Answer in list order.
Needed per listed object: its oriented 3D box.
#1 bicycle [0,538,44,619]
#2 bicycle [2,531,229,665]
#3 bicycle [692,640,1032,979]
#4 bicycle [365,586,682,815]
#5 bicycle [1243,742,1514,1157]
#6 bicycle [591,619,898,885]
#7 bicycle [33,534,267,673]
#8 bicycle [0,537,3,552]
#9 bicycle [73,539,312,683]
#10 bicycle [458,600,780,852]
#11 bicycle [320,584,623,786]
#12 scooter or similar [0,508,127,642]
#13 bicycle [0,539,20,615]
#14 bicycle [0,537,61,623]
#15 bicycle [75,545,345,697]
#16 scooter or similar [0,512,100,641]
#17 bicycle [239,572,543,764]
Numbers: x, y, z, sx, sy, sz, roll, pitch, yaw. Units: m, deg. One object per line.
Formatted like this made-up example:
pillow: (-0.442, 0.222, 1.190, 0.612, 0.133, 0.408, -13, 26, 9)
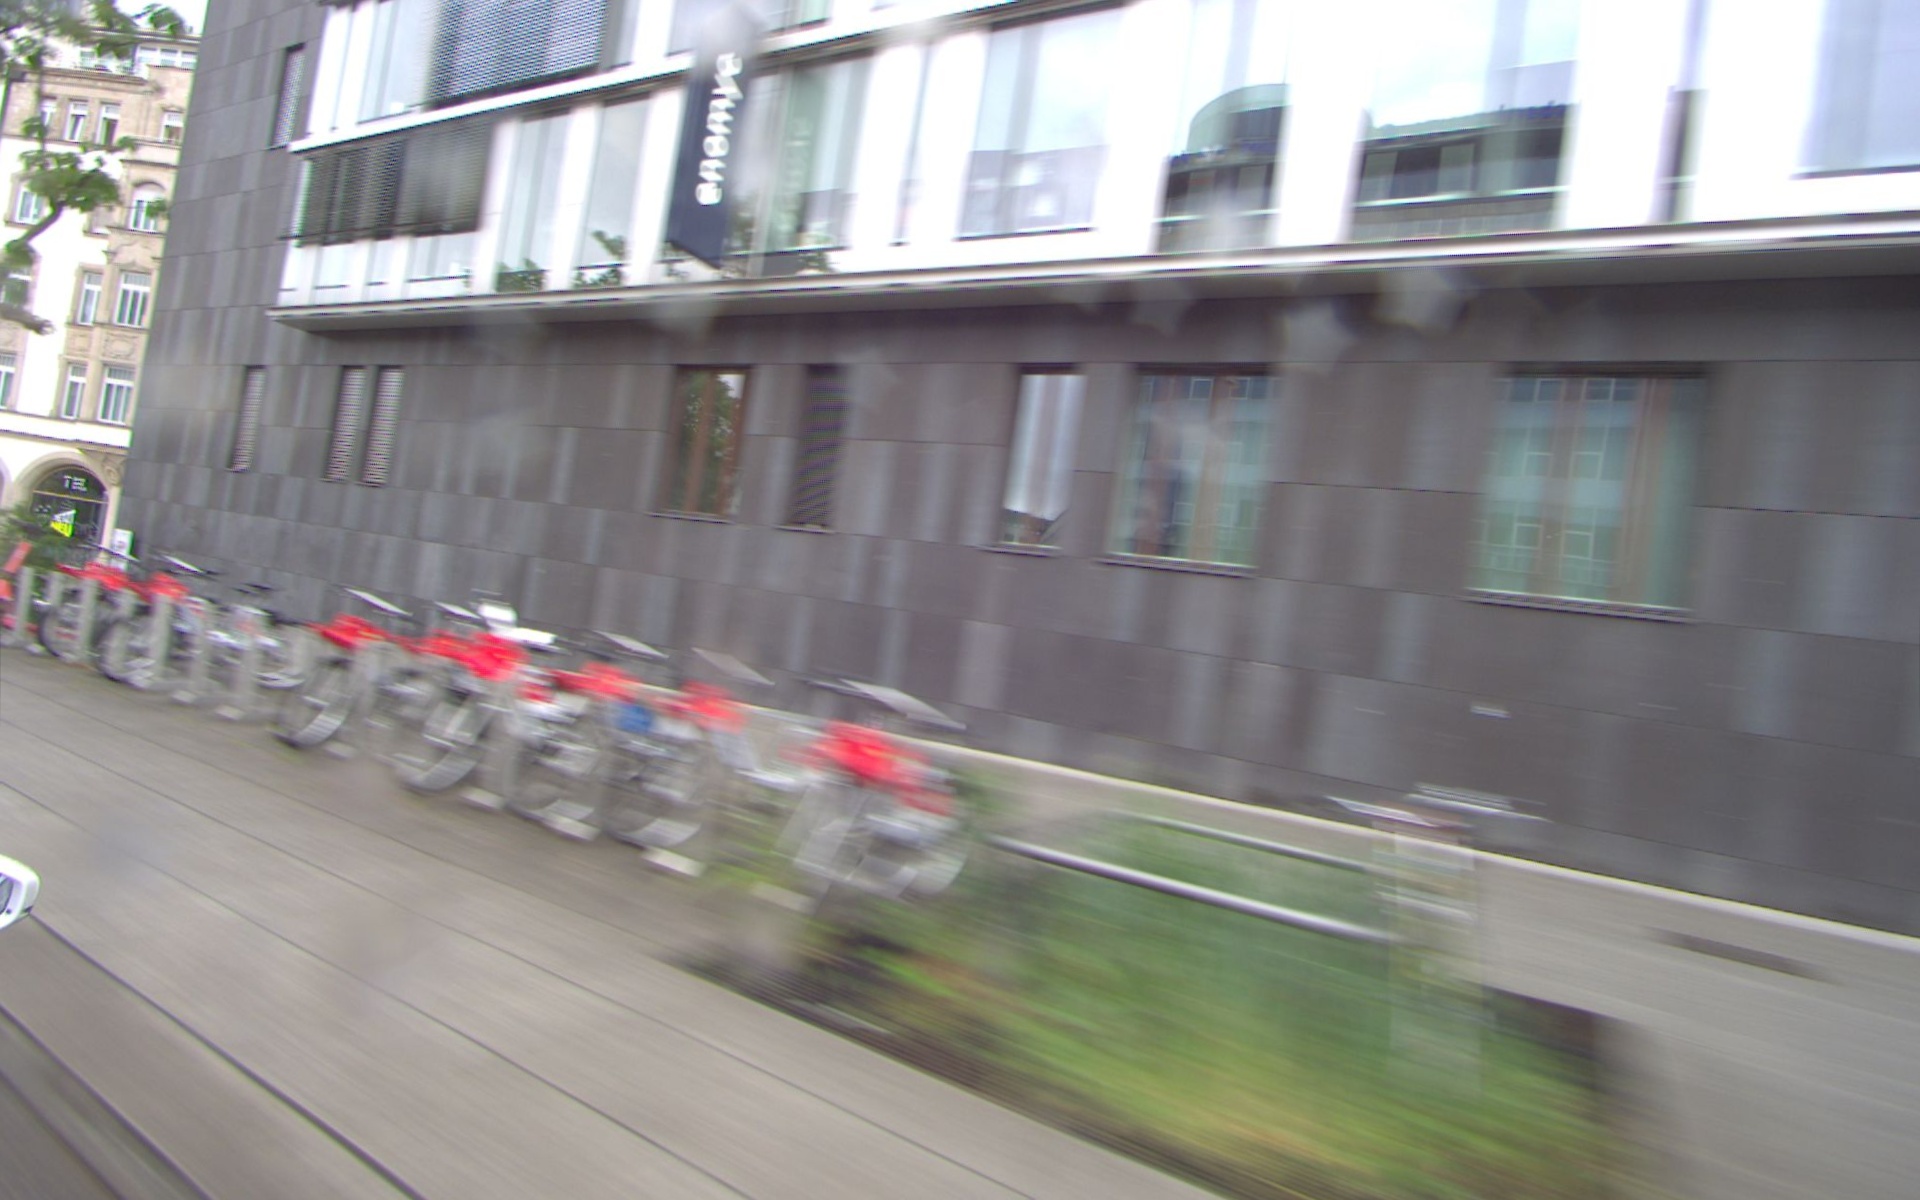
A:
bicycle: (-13.904, -0.403, 13.799, 0.546, 1.079, 1.802, 6, -5, 26)
bicycle: (-8.548, 0.019, 10.263, 0.651, 1.153, 1.540, 6, -3, 25)
bicycle: (-0.348, 0.872, 4.717, 0.677, 1.197, 1.735, 7, -2, 25)
bicycle: (-2.695, 0.629, 6.453, 0.677, 1.197, 1.735, 7, -2, 25)
bicycle: (1.664, 1.189, 3.979, 0.677, 1.082, 1.736, 7, -2, 25)
bicycle: (-1.127, 0.806, 5.731, 0.677, 1.197, 1.735, 7, -2, 25)
bicycle: (-7.869, 0.074, 9.855, 0.677, 1.153, 1.540, 6, -3, 25)
bicycle: (-15.890, -0.583, 15.221, 0.658, 1.119, 1.802, 6, -5, 25)
bicycle: (-7.159, 0.144, 9.469, 0.677, 1.153, 1.540, 6, -3, 25)
bicycle: (-1.916, 0.711, 5.969, 0.677, 1.197, 1.735, 7, -2, 25)
bicycle: (-3.287, 0.590, 6.973, 0.677, 1.153, 1.735, 7, -2, 25)
scooter or similar: (-9.628, -0.247, 10.642, 0.297, 1.272, 1.110, 6, -3, 24)
bicycle: (-14.505, -0.460, 14.072, 0.546, 1.079, 1.802, 6, -5, 26)
bicycle: (-13.205, -0.366, 13.291, 0.546, 1.079, 1.802, 6, -5, 26)
bicycle: (-6.593, 0.233, 8.961, 0.677, 1.153, 1.712, 6, -3, 25)
scooter or similar: (-9.985, -0.250, 10.741, 0.297, 1.272, 1.064, 6, -3, 24)
bicycle: (-4.024, 0.505, 7.286, 0.677, 1.153, 1.735, 7, -2, 25)
